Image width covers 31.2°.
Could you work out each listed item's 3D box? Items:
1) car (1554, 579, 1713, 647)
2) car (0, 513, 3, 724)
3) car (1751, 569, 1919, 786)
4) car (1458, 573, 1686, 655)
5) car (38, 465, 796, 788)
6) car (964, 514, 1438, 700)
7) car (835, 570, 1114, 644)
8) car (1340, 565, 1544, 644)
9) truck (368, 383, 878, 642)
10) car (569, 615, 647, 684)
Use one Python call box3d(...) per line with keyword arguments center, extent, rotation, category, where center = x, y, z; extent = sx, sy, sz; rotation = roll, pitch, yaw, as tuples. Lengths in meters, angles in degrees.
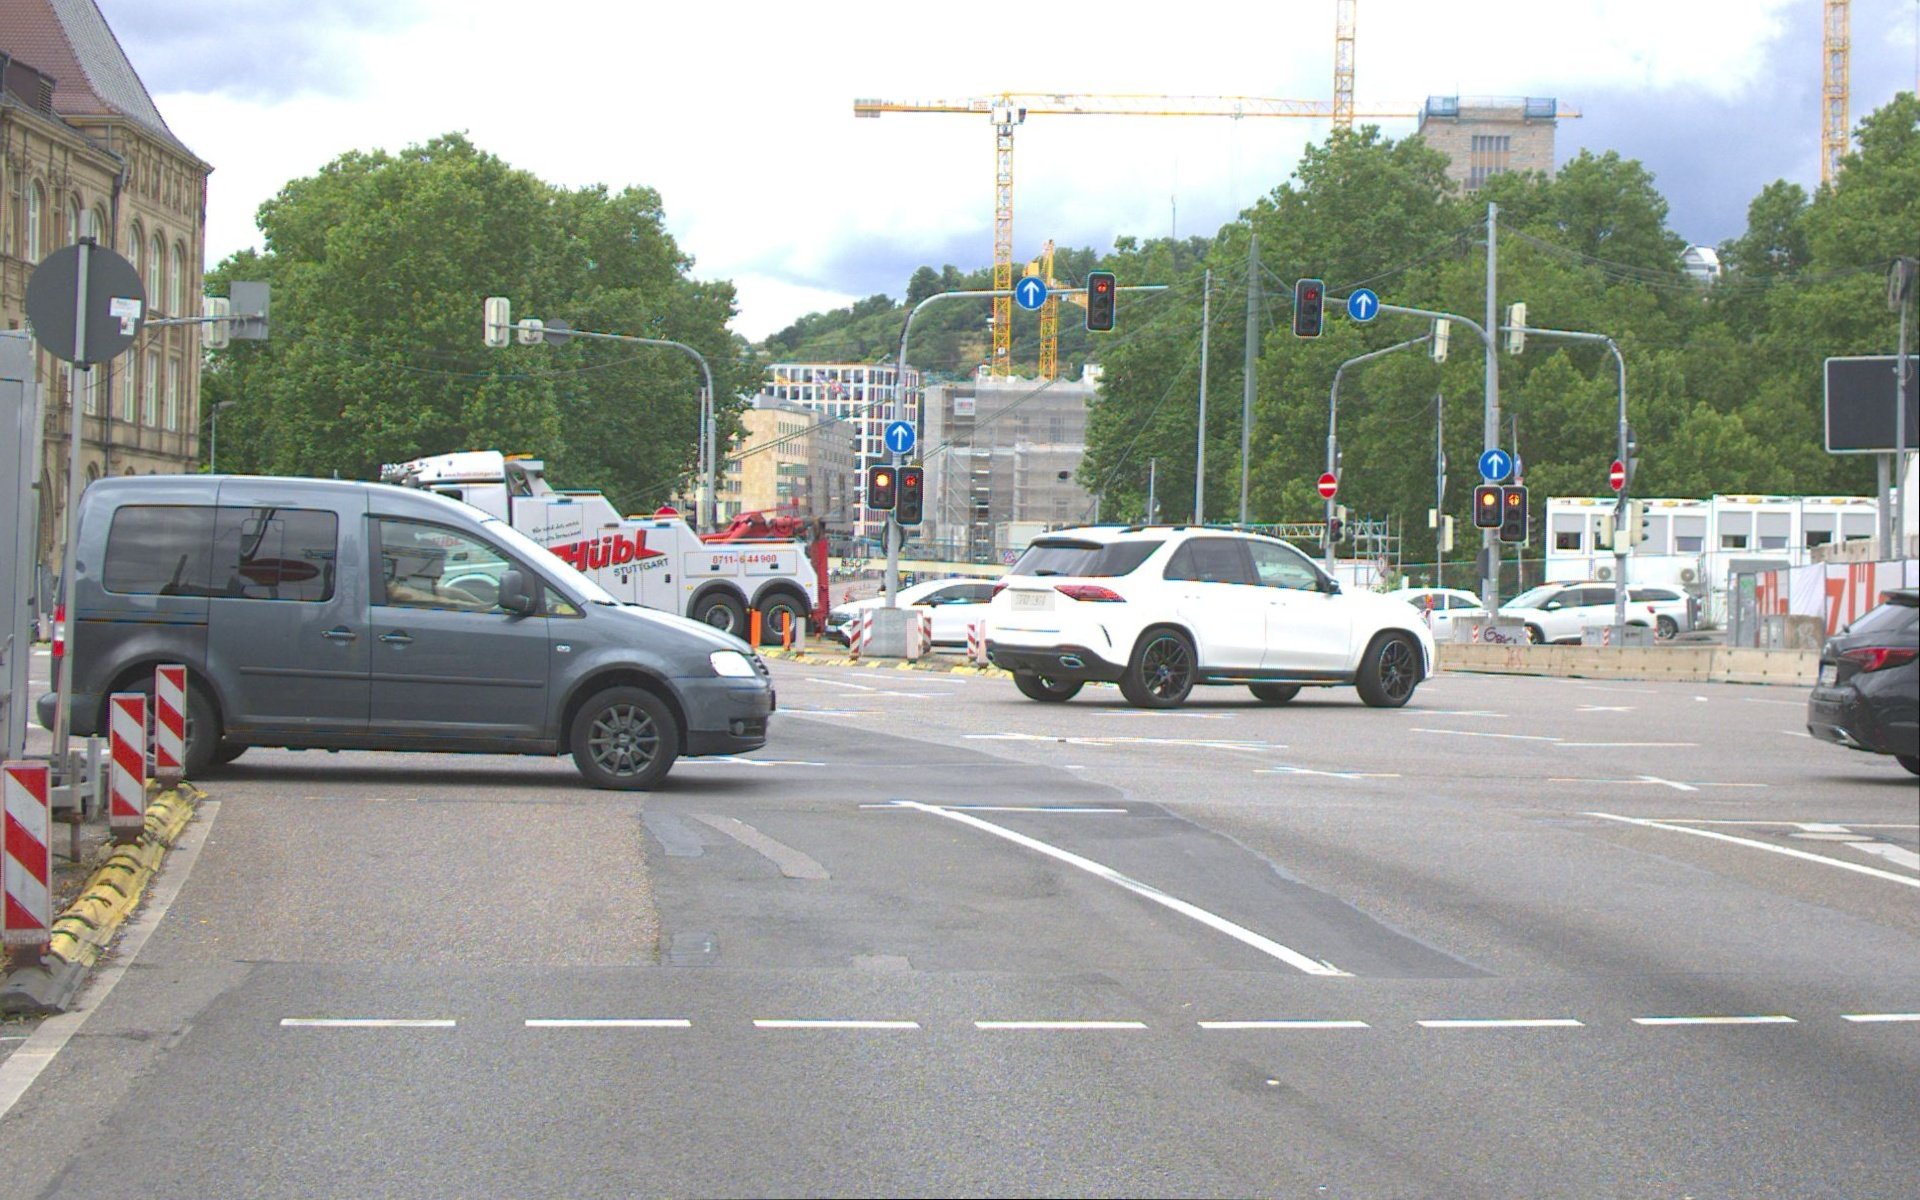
box3d(center=(17.376, 0.312, 88.630), extent=(3.955, 1.667, 1.917), rotation=(1, 0, 13), category="car")
box3d(center=(-8.987, 0.122, 23.996), extent=(4.106, 1.542, 2.000), rotation=(1, 0, -4), category="car")
box3d(center=(8.038, 0.541, 24.205), extent=(4.490, 1.461, 2.000), rotation=(1, 0, 2), category="car")
box3d(center=(13.347, 0.309, 75.006), extent=(4.583, 1.718, 1.909), rotation=(1, 1, -23), category="car")
box3d(center=(-3.168, 0.147, 20.772), extent=(4.269, 1.799, 2.000), rotation=(1, 0, -1), category="car")
box3d(center=(2.458, 0.062, 34.544), extent=(4.491, 1.753, 2.000), rotation=(0, 1, -36), category="car")
box3d(center=(0.283, 0.139, 69.151), extent=(5.132, 1.415, 2.238), rotation=(1, 1, -23), category="car")
box3d(center=(10.886, 0.092, 77.619), extent=(4.146, 1.718, 1.909), rotation=(1, 1, -23), category="car")
box3d(center=(-6.781, -1.676, 69.445), extent=(9.712, 4.943, 3.114), rotation=(1, 0, -23), category="truck")
box3d(center=(-10.001, 1.388, 97.871), extent=(1.993, 1.831, 4.001), rotation=(1, 1, -3), category="car")
